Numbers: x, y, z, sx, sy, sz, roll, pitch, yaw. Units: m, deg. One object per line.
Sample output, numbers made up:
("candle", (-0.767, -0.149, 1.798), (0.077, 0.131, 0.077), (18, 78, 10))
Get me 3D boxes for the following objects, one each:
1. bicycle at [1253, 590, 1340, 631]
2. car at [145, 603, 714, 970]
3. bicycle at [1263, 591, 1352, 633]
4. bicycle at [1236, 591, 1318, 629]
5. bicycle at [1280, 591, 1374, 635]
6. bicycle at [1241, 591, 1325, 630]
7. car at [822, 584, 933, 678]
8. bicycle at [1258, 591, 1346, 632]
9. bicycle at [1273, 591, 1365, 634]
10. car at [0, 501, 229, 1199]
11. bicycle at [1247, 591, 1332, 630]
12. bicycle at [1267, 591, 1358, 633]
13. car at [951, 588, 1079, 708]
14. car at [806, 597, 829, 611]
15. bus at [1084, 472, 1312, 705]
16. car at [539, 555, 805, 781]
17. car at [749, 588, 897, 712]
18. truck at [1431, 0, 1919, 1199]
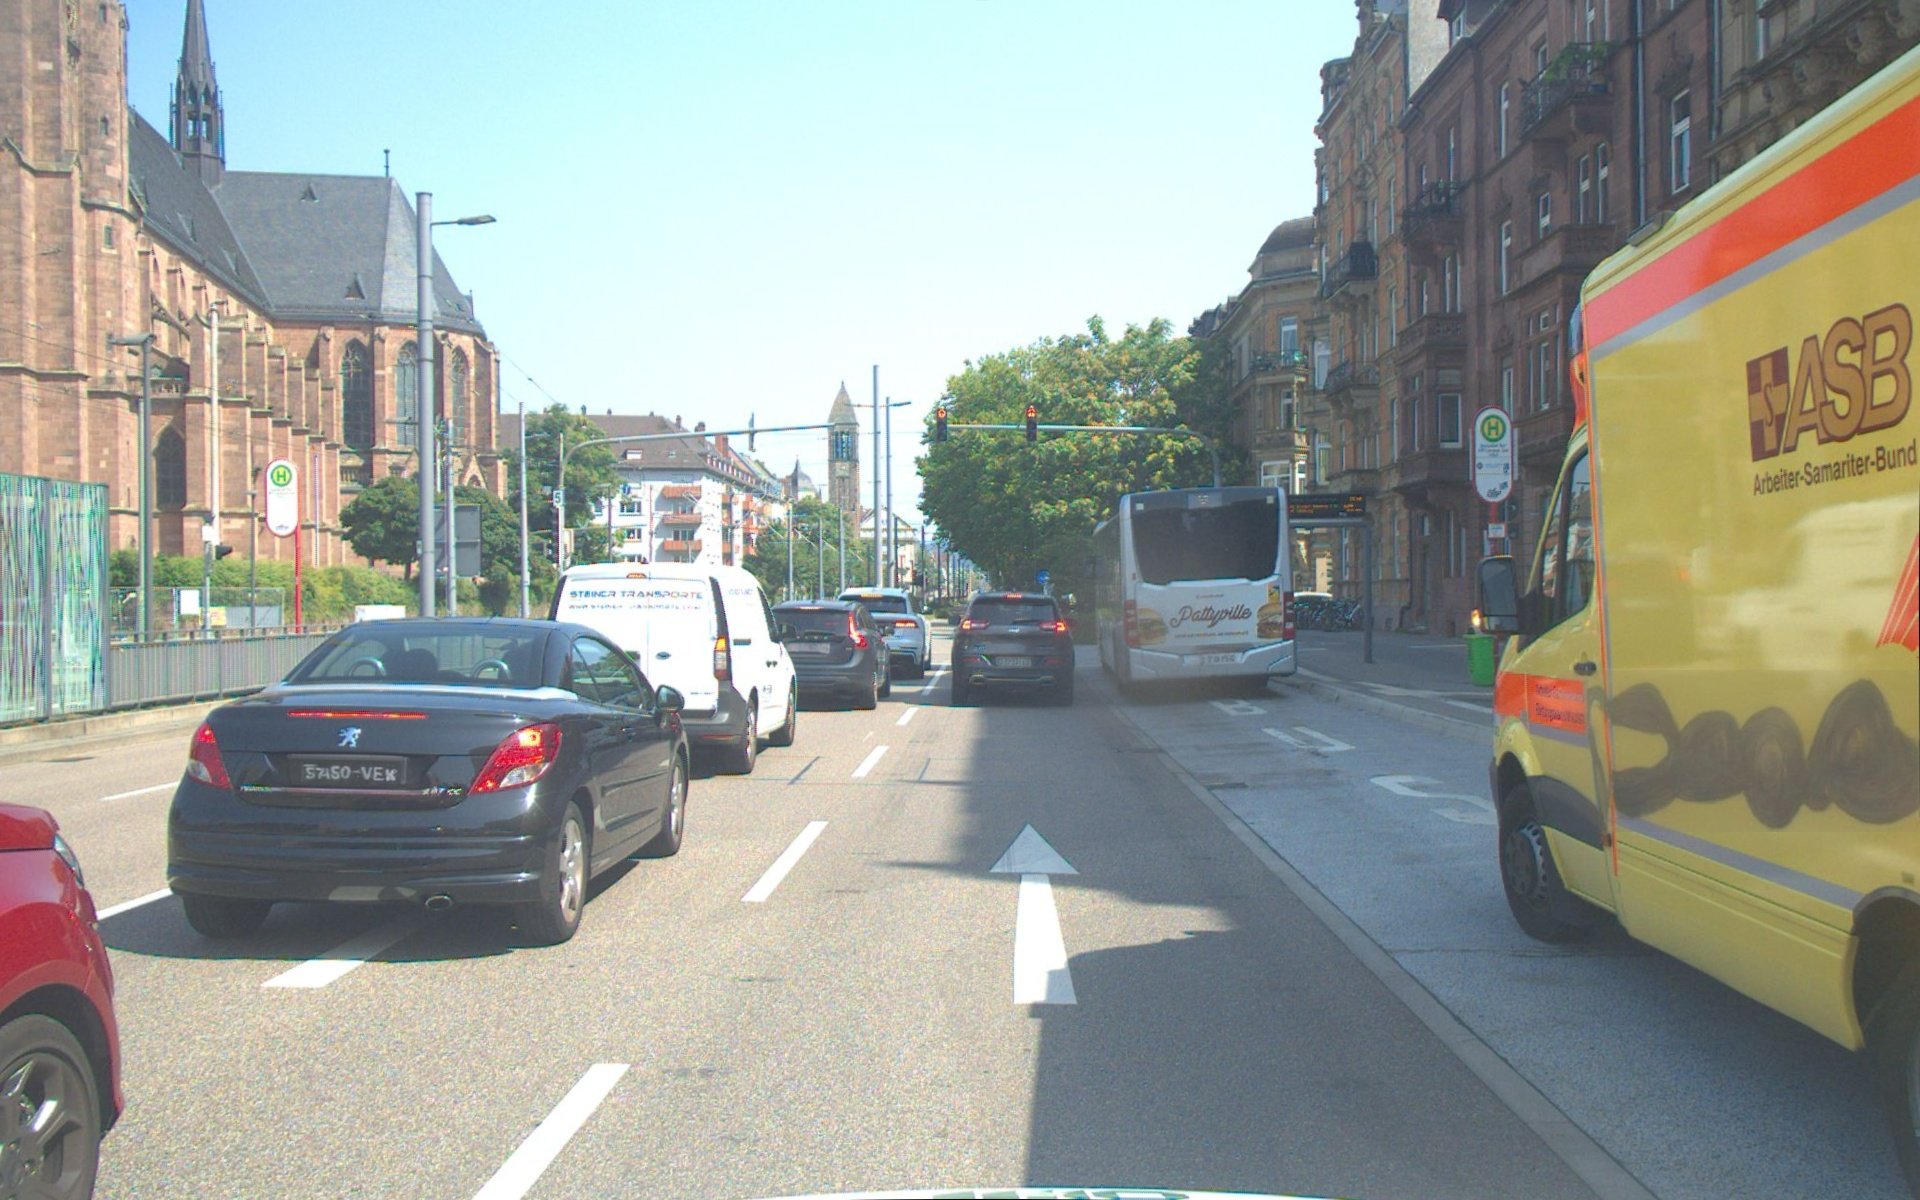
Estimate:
("bicycle", (12.228, 0.380, 60.120), (2.942, 1.397, 0.947), (-1, 0, 0))
("car", (-2.394, 0.745, 8.489), (1.653, 1.438, 3.801), (0, 0, 0))
("bicycle", (12.190, 0.415, 58.081), (2.932, 1.395, 0.871), (-1, 0, 0))
("bicycle", (12.158, 0.372, 63.452), (2.942, 1.397, 0.947), (-1, 0, 0))
("bicycle", (12.260, 0.422, 55.314), (2.932, 1.395, 0.871), (-1, 0, 0))
("bicycle", (12.184, 0.394, 62.449), (2.942, 1.397, 0.947), (-1, 0, 0))
("car", (-1.519, 0.550, 32.006), (1.863, 1.680, 4.309), (0, 0, 1))
("bicycle", (12.202, 0.391, 59.025), (2.942, 1.397, 0.947), (-1, 0, 0))
("bicycle", (12.180, 0.405, 56.221), (2.932, 1.395, 0.871), (-1, 0, 0))
("car", (-2.664, 0.630, 2.087), (1.596, 1.649, 3.969), (0, 0, 2))
("bicycle", (12.157, 0.380, 61.131), (2.942, 1.397, 0.947), (-1, 0, 0))
("bicycle", (12.154, 0.403, 57.134), (2.932, 1.395, 0.871), (-1, 0, 0))
("car", (0.858, 0.667, 25.574), (1.794, 1.680, 4.309), (1, 0, 2))
("car", (-15.438, 0.445, 179.825), (1.709, 1.460, 4.576), (-2, 0, 5))
("bus", (3.841, -0.167, 29.578), (2.686, 3.161, 11.959), (-3, 0, 2))
("car", (-2.569, 0.557, 15.730), (1.711, 1.852, 4.240), (0, 0, 1))
("car", (-1.902, 0.655, 24.128), (1.711, 1.642, 4.309), (1, 0, 1))
("truck", (3.380, -0.001, 5.221), (2.279, 2.818, 6.341), (-3, 0, 4))
